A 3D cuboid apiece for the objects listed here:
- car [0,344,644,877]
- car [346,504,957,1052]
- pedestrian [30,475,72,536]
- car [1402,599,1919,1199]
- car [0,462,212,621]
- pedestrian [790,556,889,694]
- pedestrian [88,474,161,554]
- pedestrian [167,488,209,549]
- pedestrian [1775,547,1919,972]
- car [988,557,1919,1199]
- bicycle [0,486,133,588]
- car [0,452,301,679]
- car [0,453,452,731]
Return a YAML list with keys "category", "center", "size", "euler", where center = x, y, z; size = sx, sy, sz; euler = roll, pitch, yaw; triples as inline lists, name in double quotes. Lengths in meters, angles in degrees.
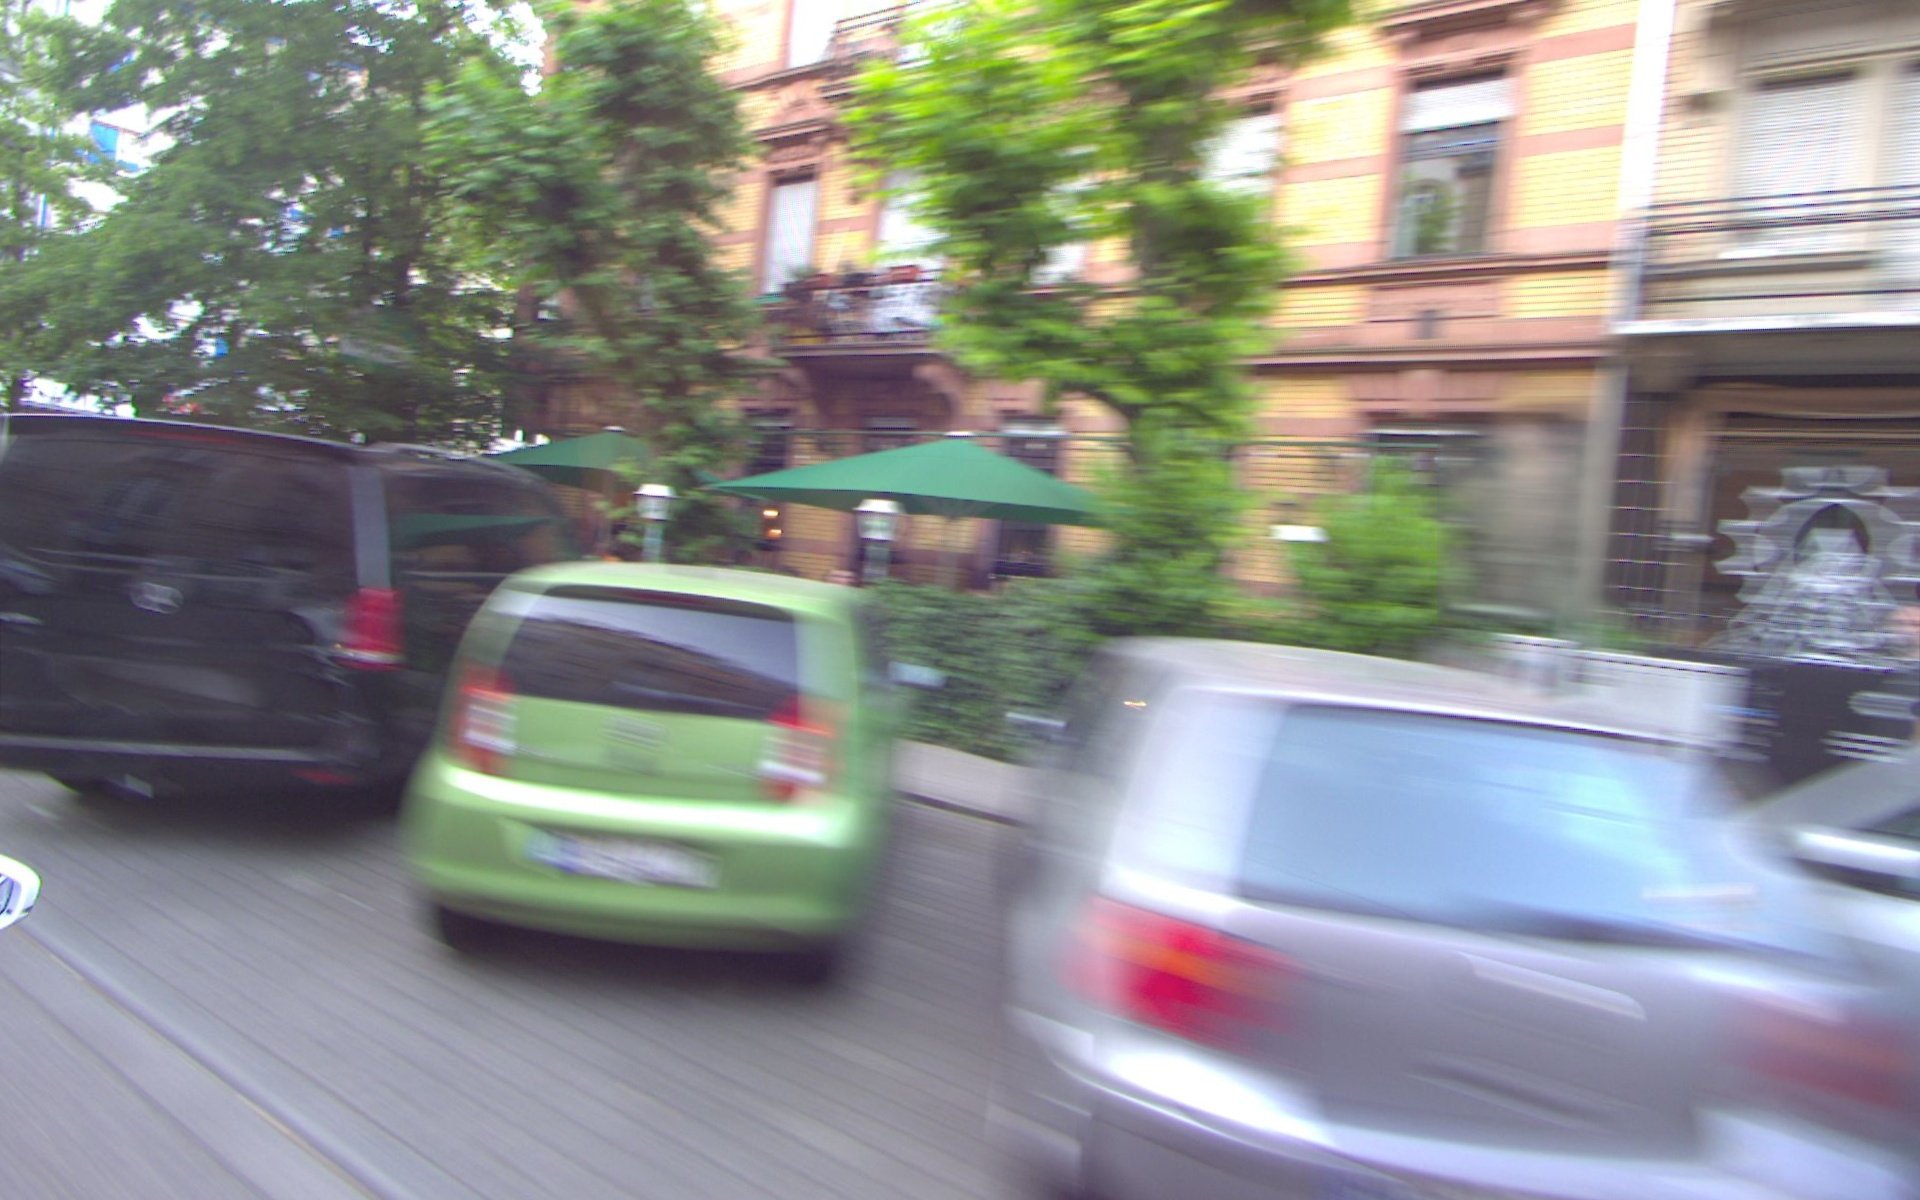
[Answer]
- category: "car"
  center: [-3.798, -0.071, 6.909]
  size: [1.899, 2.100, 5.425]
  euler: [6, 2, -6]
- category: "car"
  center: [-1.007, 0.511, 5.269]
  size: [1.785, 1.572, 4.104]
  euler: [6, 2, 0]
- category: "pedestrian"
  center: [-27.122, -2.813, 30.031]
  size: [0.712, 1.671, 0.706]
  euler: [8, -1, -37]
- category: "car"
  center: [3.228, 0.995, 2.690]
  size: [1.786, 1.612, 4.100]
  euler: [6, 2, -6]
- category: "car"
  center: [-10.922, -0.725, 11.441]
  size: [1.662, 1.649, 4.045]
  euler: [7, 1, 0]
- category: "pedestrian"
  center: [-1.293, 0.274, 10.835]
  size: [0.685, 1.382, 0.589]
  euler: [7, -1, 28]
- category: "pedestrian"
  center: [-20.989, -2.150, 25.283]
  size: [0.930, 1.791, 0.869]
  euler: [7, -1, 12]
- category: "pedestrian"
  center: [-24.131, -2.541, 31.453]
  size: [0.656, 1.746, 0.720]
  euler: [7, -1, -15]
- category: "pedestrian"
  center: [4.863, 0.802, 5.156]
  size: [0.644, 2.037, 0.625]
  euler: [7, -1, -3]
- category: "car"
  center: [1.120, 0.743, 3.712]
  size: [1.785, 1.572, 4.104]
  euler: [6, 2, 0]
- category: "bicycle"
  center: [-13.459, -0.936, 14.912]
  size: [1.692, 1.304, 0.598]
  euler: [7, 0, -5]
- category: "car"
  center: [-8.355, -0.446, 9.369]
  size: [1.899, 1.711, 4.215]
  euler: [6, 2, -6]
- category: "car"
  center: [-6.221, -0.189, 8.298]
  size: [1.898, 1.644, 4.218]
  euler: [6, 2, -2]
